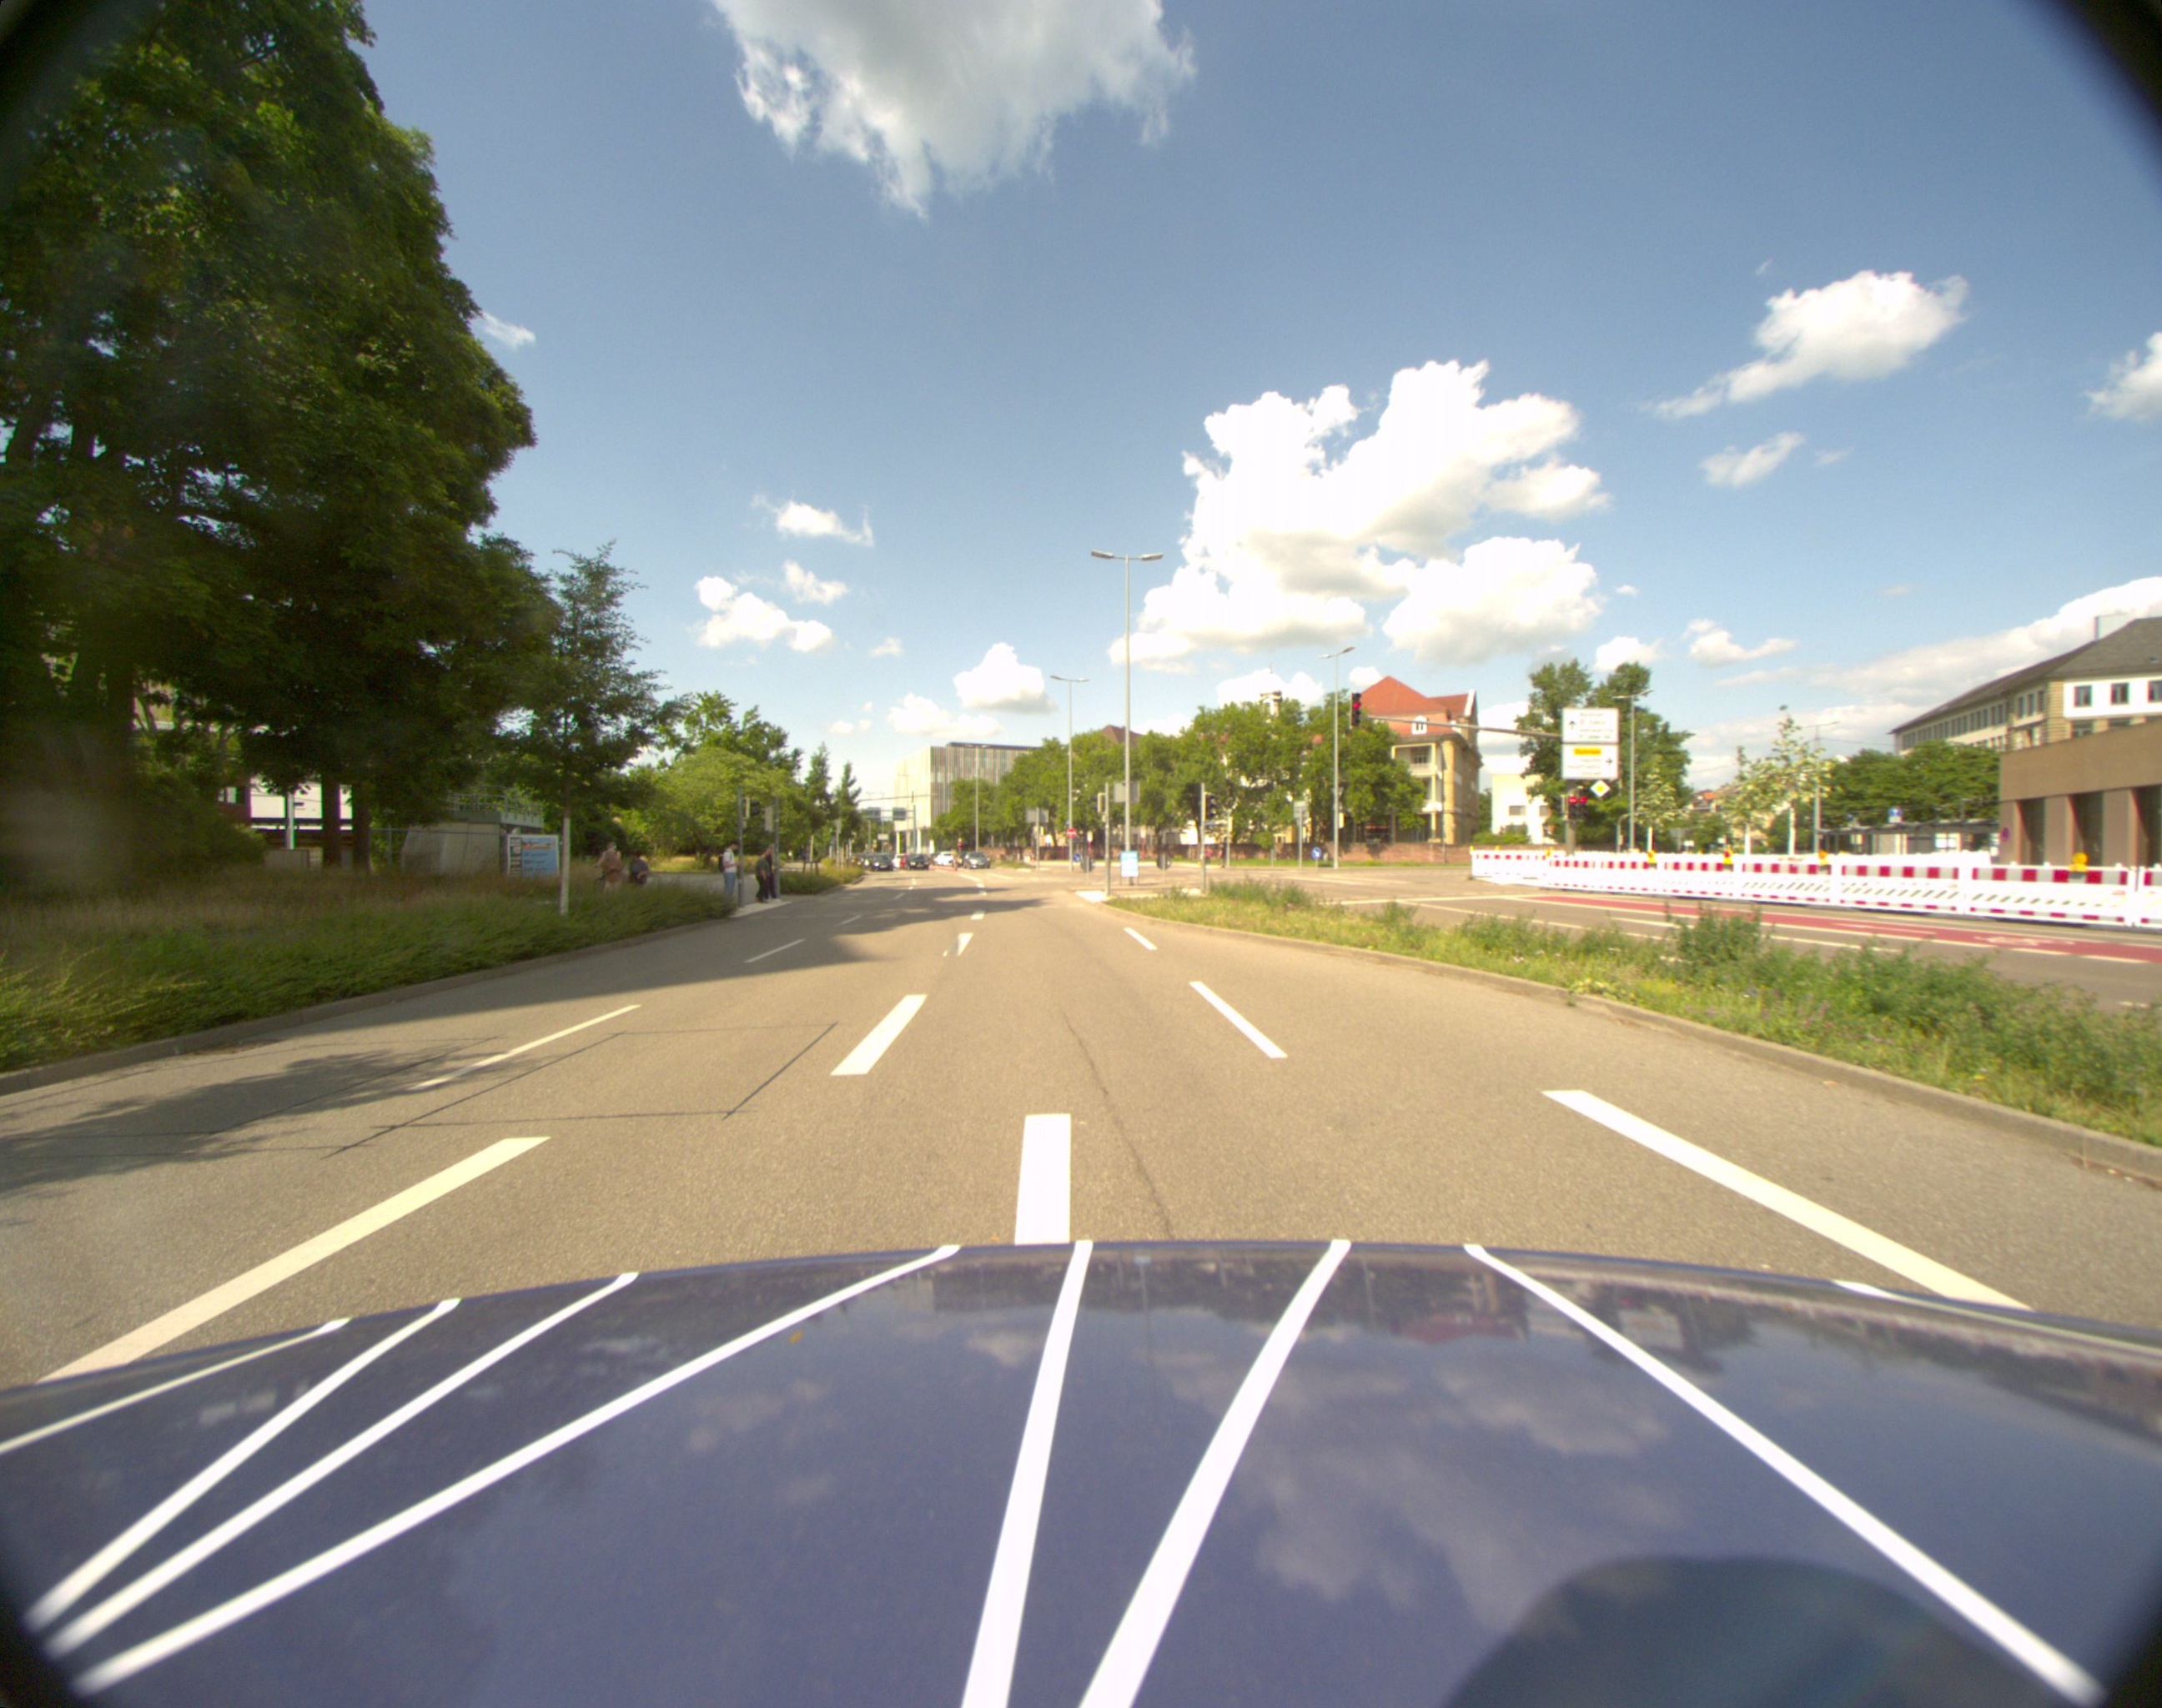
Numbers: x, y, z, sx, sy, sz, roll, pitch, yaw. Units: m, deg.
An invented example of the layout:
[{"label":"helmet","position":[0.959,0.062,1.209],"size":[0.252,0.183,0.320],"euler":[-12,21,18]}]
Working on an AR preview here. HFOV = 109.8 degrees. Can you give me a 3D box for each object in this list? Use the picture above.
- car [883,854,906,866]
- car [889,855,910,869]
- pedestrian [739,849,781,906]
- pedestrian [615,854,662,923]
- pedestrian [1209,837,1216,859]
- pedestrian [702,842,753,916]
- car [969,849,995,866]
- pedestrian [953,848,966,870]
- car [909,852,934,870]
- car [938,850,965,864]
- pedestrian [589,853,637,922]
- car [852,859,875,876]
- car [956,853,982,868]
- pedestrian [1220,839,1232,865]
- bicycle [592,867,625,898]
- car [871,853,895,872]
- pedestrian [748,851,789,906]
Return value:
[{"label":"car","position":[-18.761,0.547,76.178],"size":[1.911,1.127,4.095],"euler":[-1,1,-18]},{"label":"car","position":[-16.763,0.732,69.939],"size":[1.599,1.127,3.623],"euler":[-2,1,-17]},{"label":"pedestrian","position":[-10.039,0.729,23.811],"size":[0.927,1.725,0.768],"euler":[-2,1,-2]},{"label":"pedestrian","position":[-11.569,0.890,19.888],"size":[0.768,1.725,0.718],"euler":[-2,1,-8]},{"label":"pedestrian","position":[10.395,-0.459,60.063],"size":[0.368,1.722,0.451],"euler":[-1,2,28]},{"label":"pedestrian","position":[-9.864,0.681,21.227],"size":[0.965,2.002,0.768],"euler":[-2,1,-2]},{"label":"car","position":[-8.487,0.290,64.702],"size":[2.000,1.368,4.265],"euler":[-2,1,-10]},{"label":"pedestrian","position":[-9.568,0.379,59.823],"size":[0.739,1.704,0.874],"euler":[-3,1,-22]},{"label":"car","position":[-13.646,0.545,64.814],"size":[1.828,1.454,3.995],"euler":[-1,0,-14]},{"label":"car","position":[-13.529,0.265,79.181],"size":[1.781,1.346,3.992],"euler":[-2,1,-23]},{"label":"pedestrian","position":[-12.296,0.861,19.974],"size":[0.768,1.725,0.718],"euler":[-2,1,-8]},{"label":"car","position":[-19.914,1.239,69.738],"size":[1.827,1.454,3.995],"euler":[-1,0,-13]},{"label":"car","position":[-10.614,0.631,71.864],"size":[1.735,1.327,3.783],"euler":[-2,1,-19]},{"label":"pedestrian","position":[11.105,-0.137,58.378],"size":[0.582,1.982,0.621],"euler":[-3,1,-27]},{"label":"bicycle","position":[-14.774,0.865,23.813],"size":[0.650,0.876,1.818],"euler":[-1,1,-25]},{"label":"car","position":[-16.443,0.703,63.112],"size":[1.828,1.454,3.995],"euler":[-1,0,-14]},{"label":"pedestrian","position":[-10.091,0.784,24.588],"size":[0.927,1.725,0.768],"euler":[-2,1,-2]}]
